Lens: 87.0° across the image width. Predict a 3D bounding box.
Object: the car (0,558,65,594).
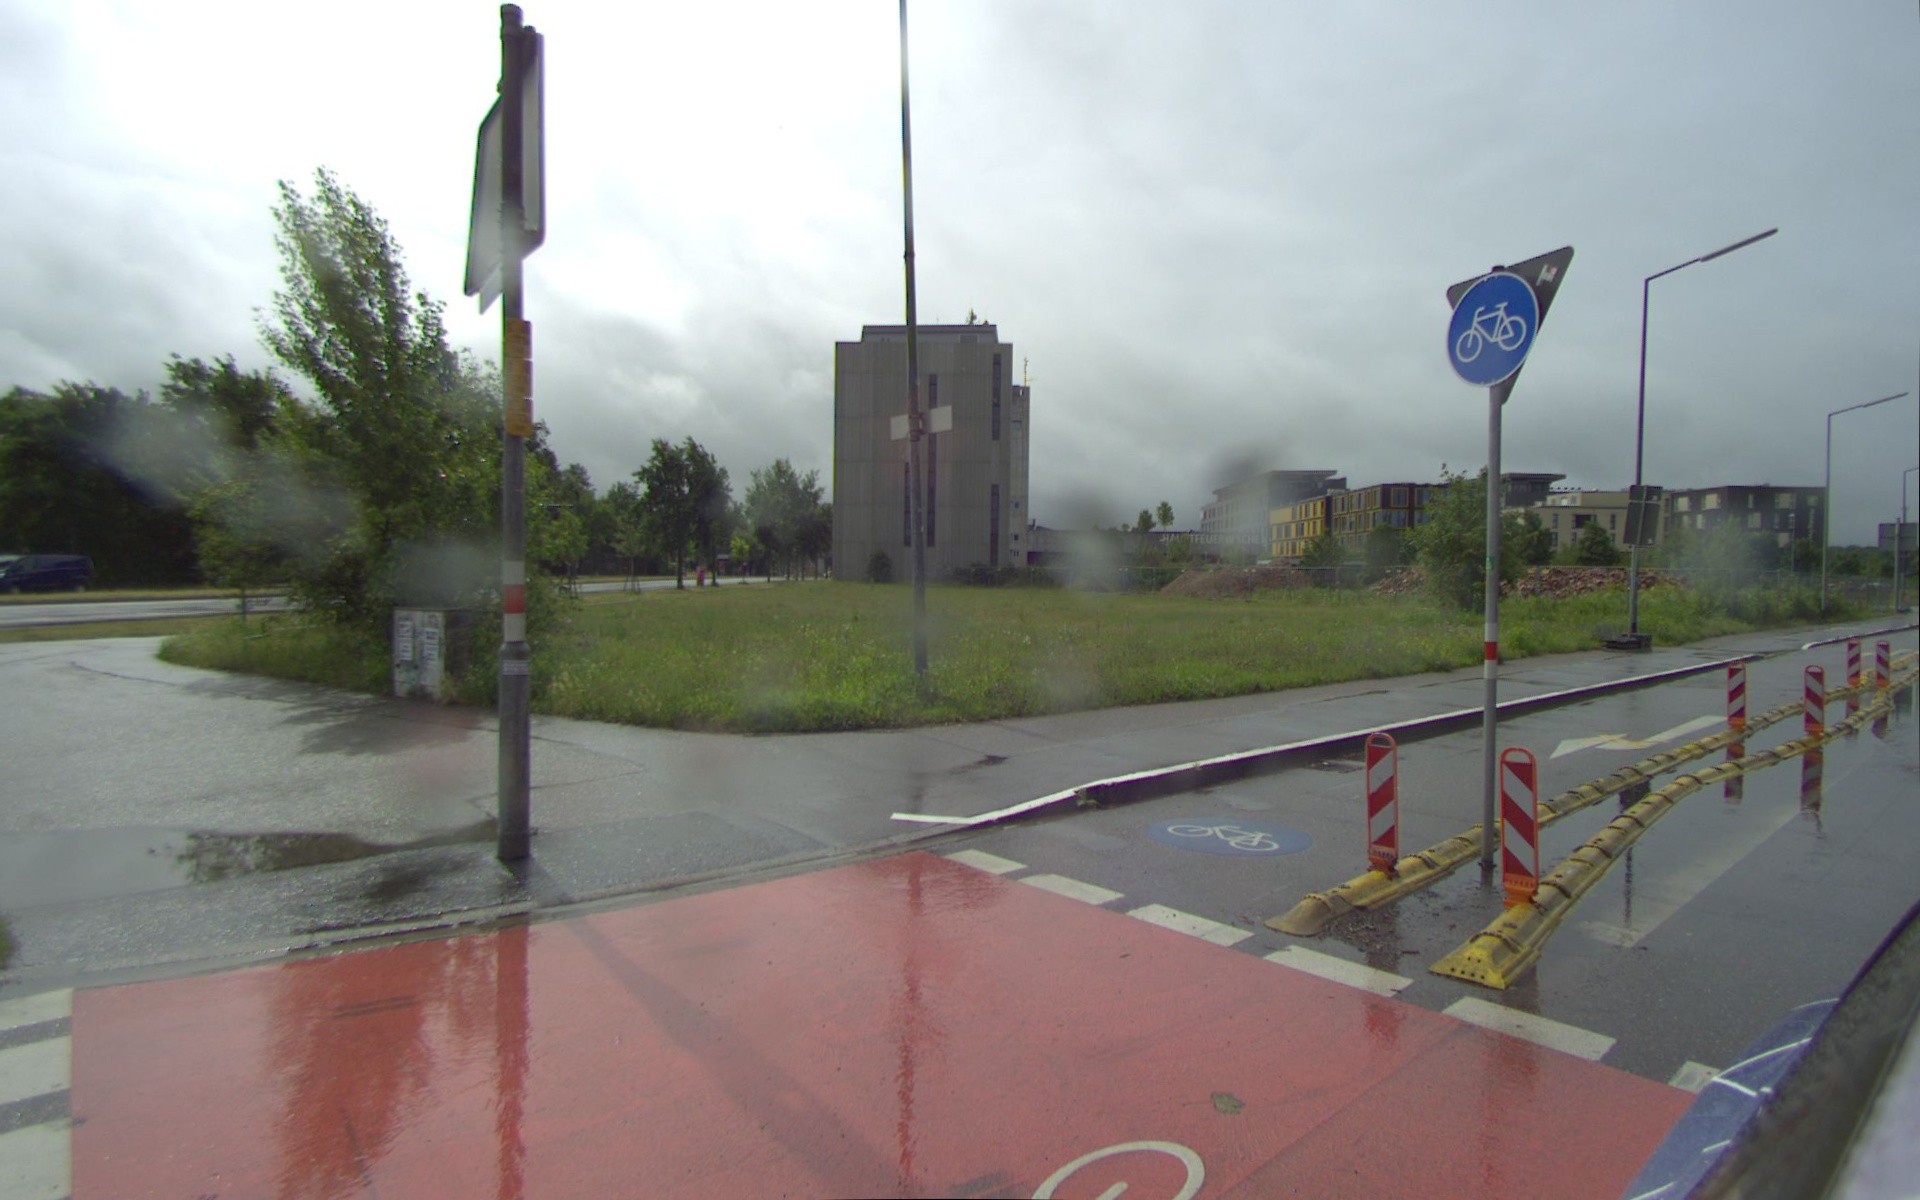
[{"bbox_3d":[-42.167,-1.088,44.988,1.601,1.529,3.539,1,1,1],"label":"car"}]
